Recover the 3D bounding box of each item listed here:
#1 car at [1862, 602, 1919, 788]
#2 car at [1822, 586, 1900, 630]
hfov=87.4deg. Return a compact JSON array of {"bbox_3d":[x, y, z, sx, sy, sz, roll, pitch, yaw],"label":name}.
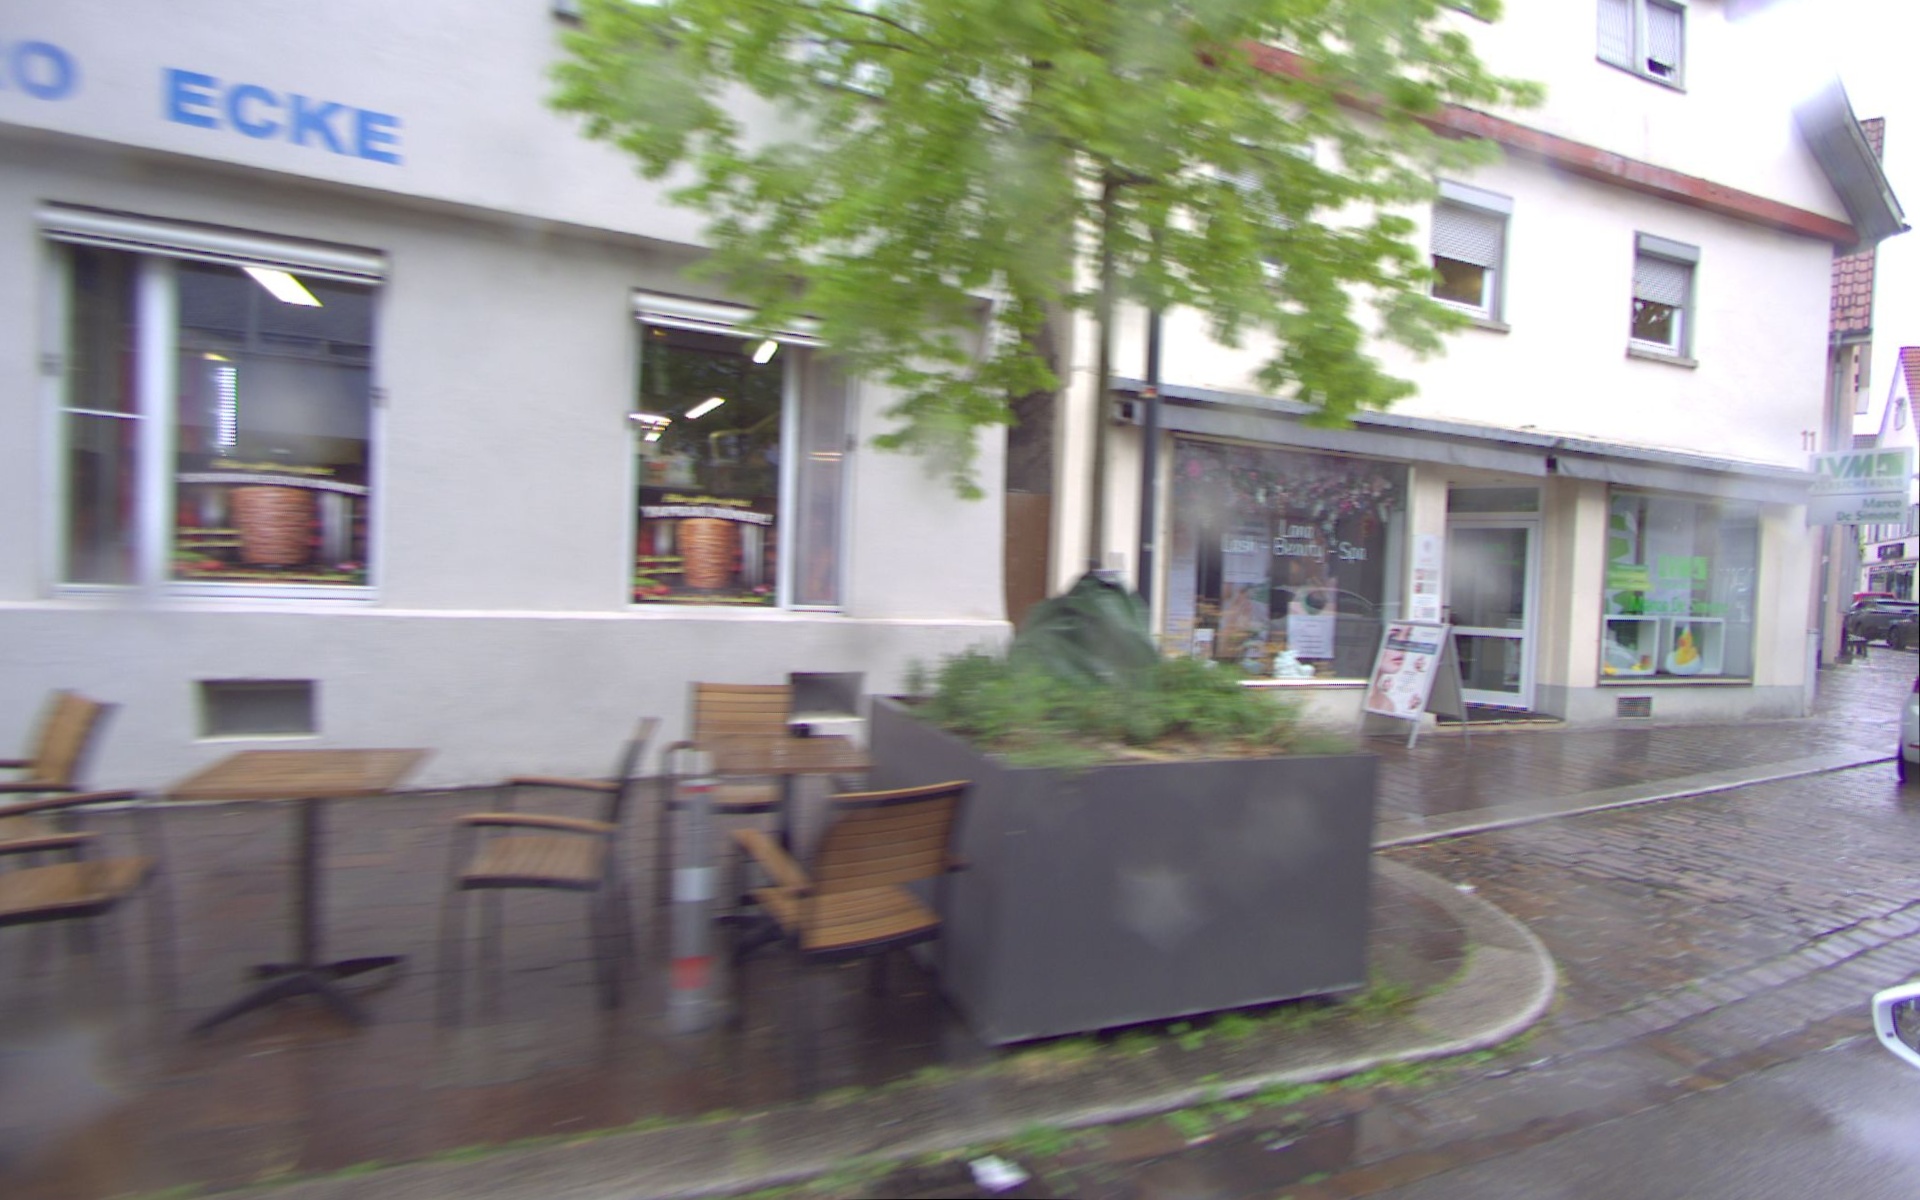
[{"bbox_3d":[9.696,0.801,8.931,4.037,1.472,1.834,0,3,-39],"label":"car"},{"bbox_3d":[41.487,0.321,46.351,1.867,1.836,3.990,5,4,32],"label":"car"}]
